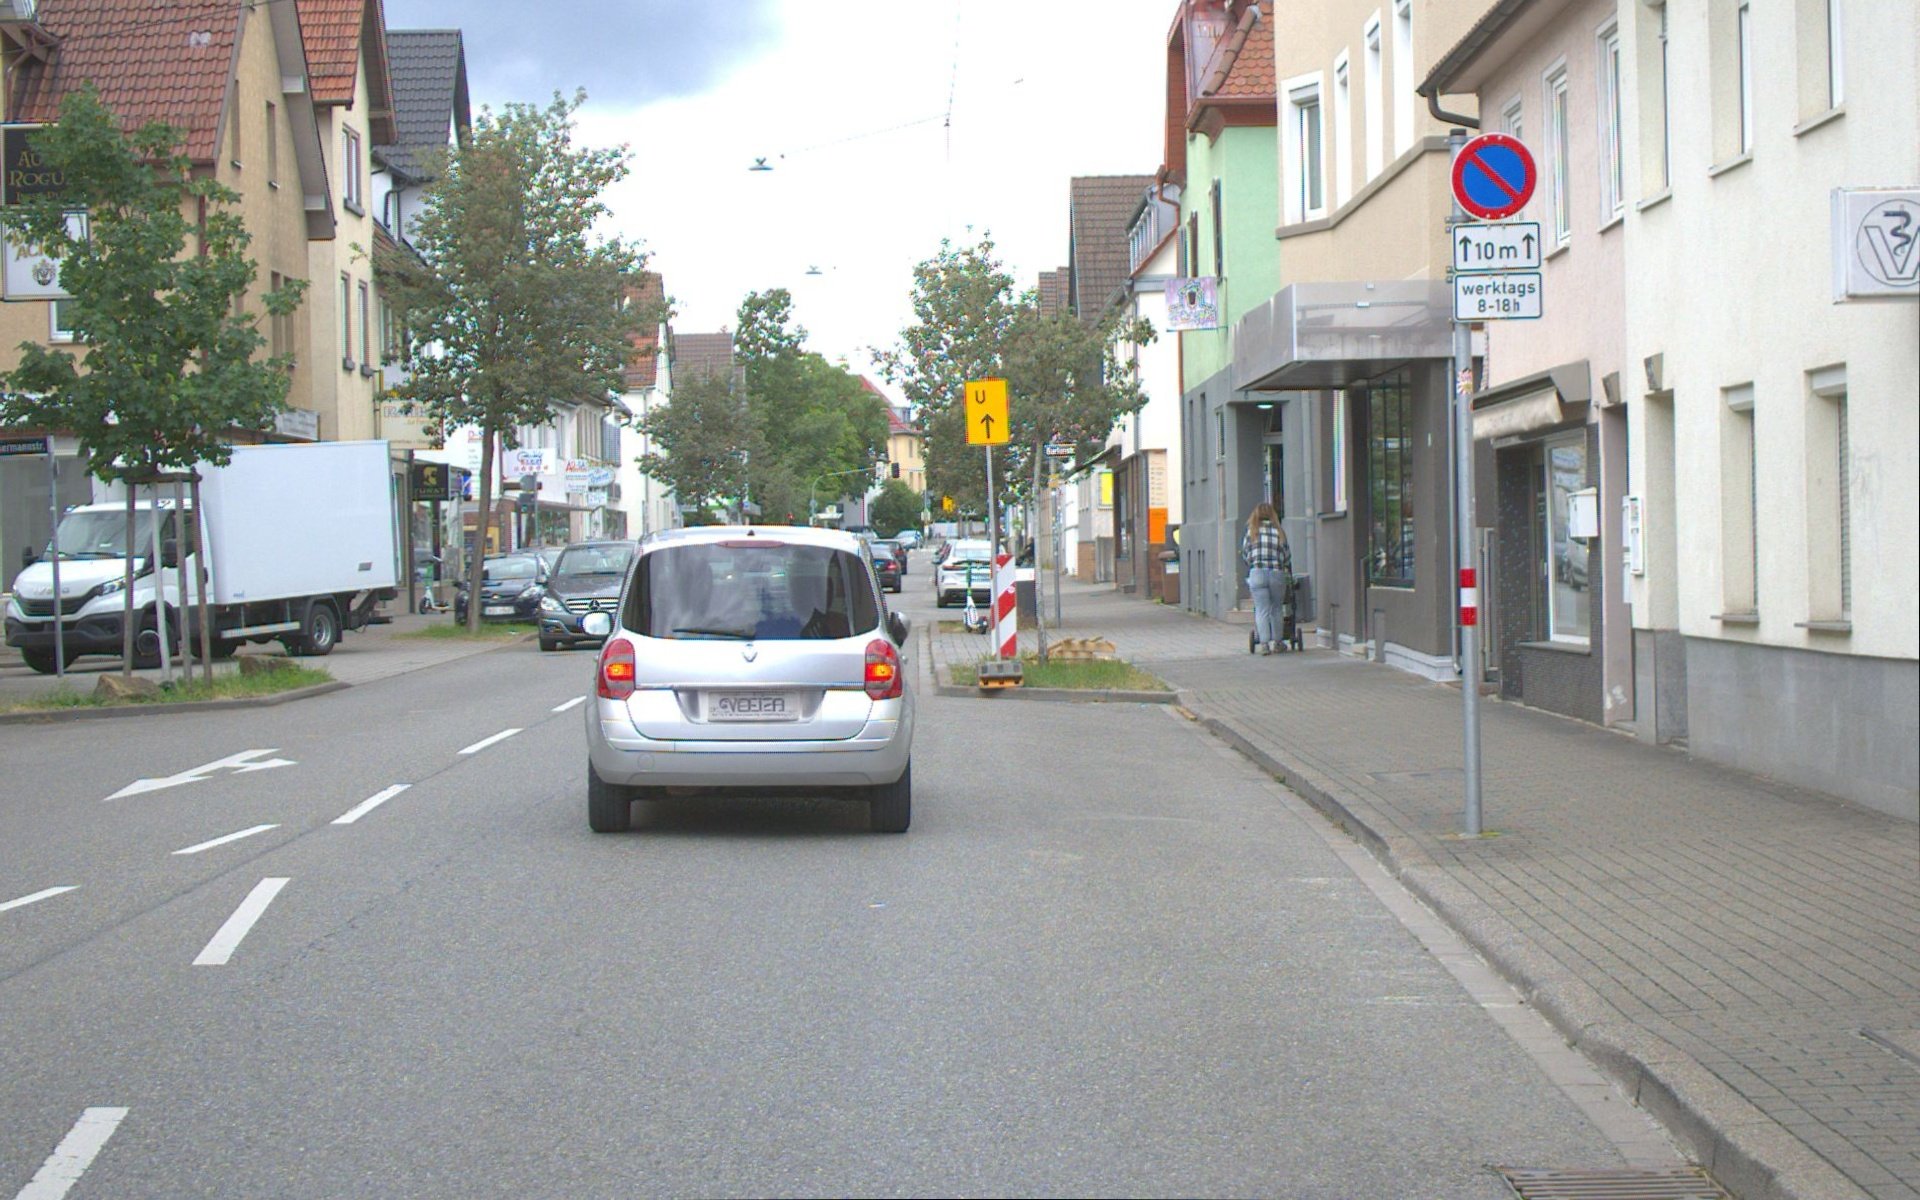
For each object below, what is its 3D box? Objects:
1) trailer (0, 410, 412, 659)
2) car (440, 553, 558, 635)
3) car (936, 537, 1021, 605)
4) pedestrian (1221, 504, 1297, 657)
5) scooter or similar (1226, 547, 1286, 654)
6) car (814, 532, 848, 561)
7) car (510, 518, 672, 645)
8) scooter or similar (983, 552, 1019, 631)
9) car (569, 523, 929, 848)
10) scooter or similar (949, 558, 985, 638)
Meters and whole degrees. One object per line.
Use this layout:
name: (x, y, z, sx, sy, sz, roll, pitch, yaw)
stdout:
trailer: (-10.671, -0.894, 48.072, 2.506, 3.208, 7.126, 1, 1, 23)
car: (-8.497, -0.127, 63.654, 1.682, 1.420, 3.931, -2, 1, -1)
car: (0.413, -0.656, 77.009, 1.831, 1.441, 4.332, 1, 1, 0)
pedestrian: (3.394, -0.225, 39.075, 0.750, 1.714, 0.900, 1, 1, 0)
scooter or similar: (3.437, -0.002, 40.009, 0.589, 1.228, 0.891, 1, 1, -1)
car: (-8.072, -3.319, 215.044, 1.900, 1.731, 4.366, -2, 1, 0)
car: (-5.503, -0.302, 51.743, 1.993, 1.790, 4.277, -1, 1, -1)
scooter or similar: (0.640, -0.144, 54.181, 0.502, 1.231, 1.942, 1, 1, -1)
car: (-1.049, 0.390, 18.818, 1.682, 1.560, 3.993, 1, 1, 0)
scooter or similar: (0.105, -0.050, 54.172, 0.502, 1.231, 1.942, 1, 1, -1)
